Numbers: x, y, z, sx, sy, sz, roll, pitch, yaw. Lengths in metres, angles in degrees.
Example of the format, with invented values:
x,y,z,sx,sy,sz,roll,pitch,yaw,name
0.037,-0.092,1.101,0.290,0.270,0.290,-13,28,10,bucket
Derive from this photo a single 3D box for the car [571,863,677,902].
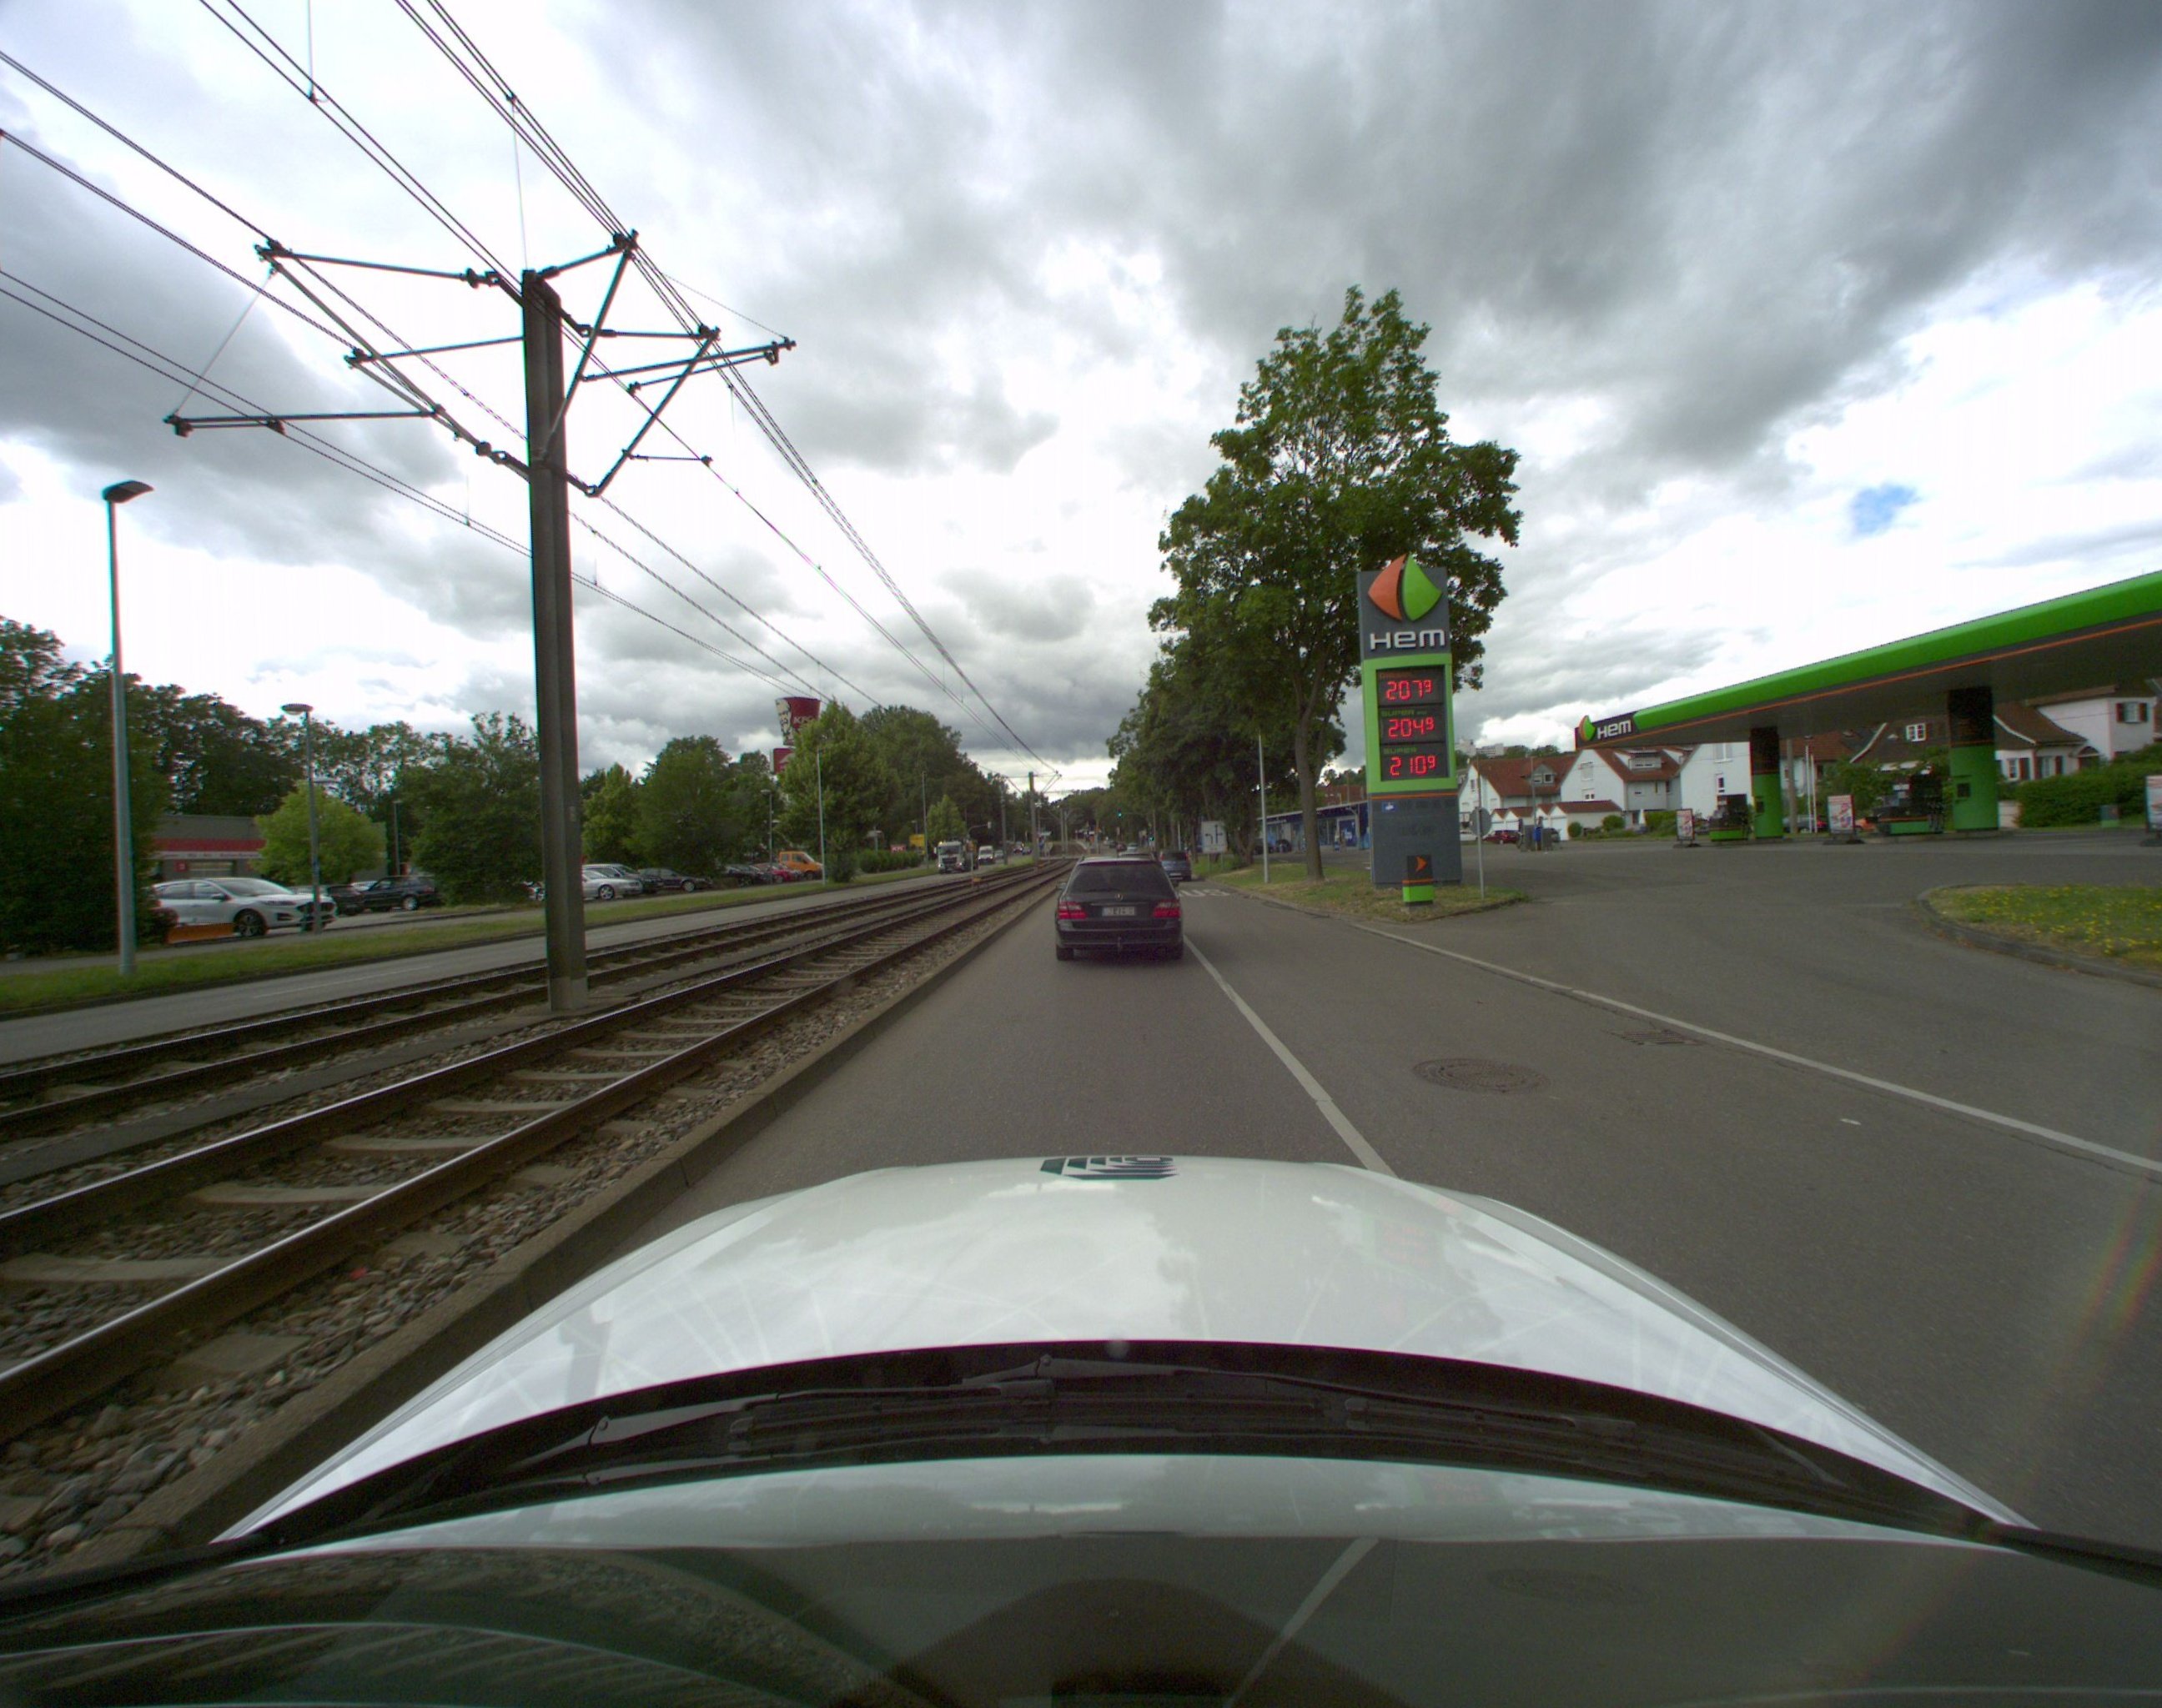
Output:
x,y,z,sx,sy,sz,roll,pitch,yaw,name
-22.171,1.351,39.609,3.978,1.635,1.876,-3,0,-3,car

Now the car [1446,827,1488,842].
x,y,z,sx,sy,sz,roll,pitch,yaw,name
46.198,-2.376,97.405,4.203,1.684,1.777,-1,0,-1,car

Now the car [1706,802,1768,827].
x,y,z,sx,sy,sz,roll,pitch,yaw,name
51.731,-3.096,64.283,1.683,1.684,4.002,-3,0,2,car

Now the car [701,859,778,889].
x,y,z,sx,sy,sz,roll,pitch,yaw,name
-21.488,1.237,51.381,3.978,1.599,1.876,-3,0,-3,car

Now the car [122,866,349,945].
x,y,z,sx,sy,sz,roll,pitch,yaw,name
-22.808,1.340,22.117,3.978,1.797,1.876,-3,0,-3,car

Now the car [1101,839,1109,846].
x,y,z,sx,sy,sz,roll,pitch,yaw,name
6.005,-2.889,202.833,1.986,1.714,4.002,-3,0,2,car

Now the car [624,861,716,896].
x,y,z,sx,sy,sz,roll,pitch,yaw,name
-22.368,1.324,44.438,3.978,1.599,1.876,-3,0,-3,car

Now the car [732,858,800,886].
x,y,z,sx,sy,sz,roll,pitch,yaw,name
-22.020,1.221,57.041,3.978,1.797,1.876,-1,0,-3,car

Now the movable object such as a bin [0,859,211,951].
x,y,z,sx,sy,sz,roll,pitch,yaw,name
-23.977,1.212,19.643,3.977,1.937,1.678,-3,0,-2,movable object such as a bin

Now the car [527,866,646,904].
x,y,z,sx,sy,sz,roll,pitch,yaw,name
-22.344,1.377,36.905,4.294,1.472,1.680,-2,0,-1,car

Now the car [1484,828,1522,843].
x,y,z,sx,sy,sz,roll,pitch,yaw,name
42.128,-1.841,81.323,1.581,1.394,3.406,-1,0,-10,car

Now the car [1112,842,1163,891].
x,y,z,sx,sy,sz,roll,pitch,yaw,name
2.099,0.466,31.128,1.774,1.750,3.719,-1,0,2,car

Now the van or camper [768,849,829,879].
x,y,z,sx,sy,sz,roll,pitch,yaw,name
-21.508,0.757,62.156,3.978,2.135,1.876,-1,0,-3,van or camper

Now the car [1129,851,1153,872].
x,y,z,sx,sy,sz,roll,pitch,yaw,name
4.093,0.507,55.955,1.460,1.414,3.356,-1,0,2,car

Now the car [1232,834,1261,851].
x,y,z,sx,sy,sz,roll,pitch,yaw,name
18.063,-1.252,88.705,1.987,1.682,4.607,-3,0,26,car

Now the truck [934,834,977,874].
x,y,z,sx,sy,sz,roll,pitch,yaw,name
-12.745,-0.051,83.411,2.698,3.663,11.107,-3,0,-1,truck

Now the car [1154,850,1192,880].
x,y,z,sx,sy,sz,roll,pitch,yaw,name
4.428,0.518,39.468,1.565,1.414,3.356,-1,0,2,car

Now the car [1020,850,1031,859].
x,y,z,sx,sy,sz,roll,pitch,yaw,name
-10.887,0.140,159.009,1.758,1.647,3.772,-1,0,2,car

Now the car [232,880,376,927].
x,y,z,sx,sy,sz,roll,pitch,yaw,name
-33.588,2.105,35.279,4.271,1.684,1.939,-3,0,0,car

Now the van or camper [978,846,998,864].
x,y,z,sx,sy,sz,roll,pitch,yaw,name
-12.957,0.184,114.141,1.987,2.354,5.765,-3,0,0,van or camper

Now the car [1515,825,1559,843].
x,y,z,sx,sy,sz,roll,pitch,yaw,name
42.573,-1.878,76.074,1.533,1.599,3.724,-1,0,-10,car

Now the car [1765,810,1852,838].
x,y,z,sx,sy,sz,roll,pitch,yaw,name
47.572,-1.956,53.355,1.755,1.689,3.986,-1,0,-10,car

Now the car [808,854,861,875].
x,y,z,sx,sy,sz,roll,pitch,yaw,name
-21.418,0.876,70.851,3.978,1.599,1.795,-3,0,-3,car

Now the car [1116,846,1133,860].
x,y,z,sx,sy,sz,roll,pitch,yaw,name
5.611,-0.129,105.253,1.986,1.838,4.002,-1,0,2,car

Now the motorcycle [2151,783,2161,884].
x,y,z,sx,sy,sz,roll,pitch,yaw,name
14.641,-0.291,9.822,0.852,1.331,1.991,-3,0,2,motorcycle

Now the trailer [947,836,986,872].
x,y,z,sx,sy,sz,roll,pitch,yaw,name
-12.908,-0.043,93.215,2.697,3.660,13.292,-3,0,-1,trailer

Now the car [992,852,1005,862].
x,y,z,sx,sy,sz,roll,pitch,yaw,name
-14.029,0.486,138.887,1.758,1.647,3.772,-1,0,2,car

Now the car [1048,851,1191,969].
x,y,z,sx,sy,sz,roll,pitch,yaw,name
0.562,0.716,12.425,1.801,1.474,3.883,-1,0,2,car

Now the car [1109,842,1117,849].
x,y,z,sx,sy,sz,roll,pitch,yaw,name
7.059,-1.834,180.204,1.662,1.532,3.768,-1,0,-2,car

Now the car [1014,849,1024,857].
x,y,z,sx,sy,sz,roll,pitch,yaw,name
-13.934,-0.251,184.229,1.758,1.647,3.772,-1,0,2,car
